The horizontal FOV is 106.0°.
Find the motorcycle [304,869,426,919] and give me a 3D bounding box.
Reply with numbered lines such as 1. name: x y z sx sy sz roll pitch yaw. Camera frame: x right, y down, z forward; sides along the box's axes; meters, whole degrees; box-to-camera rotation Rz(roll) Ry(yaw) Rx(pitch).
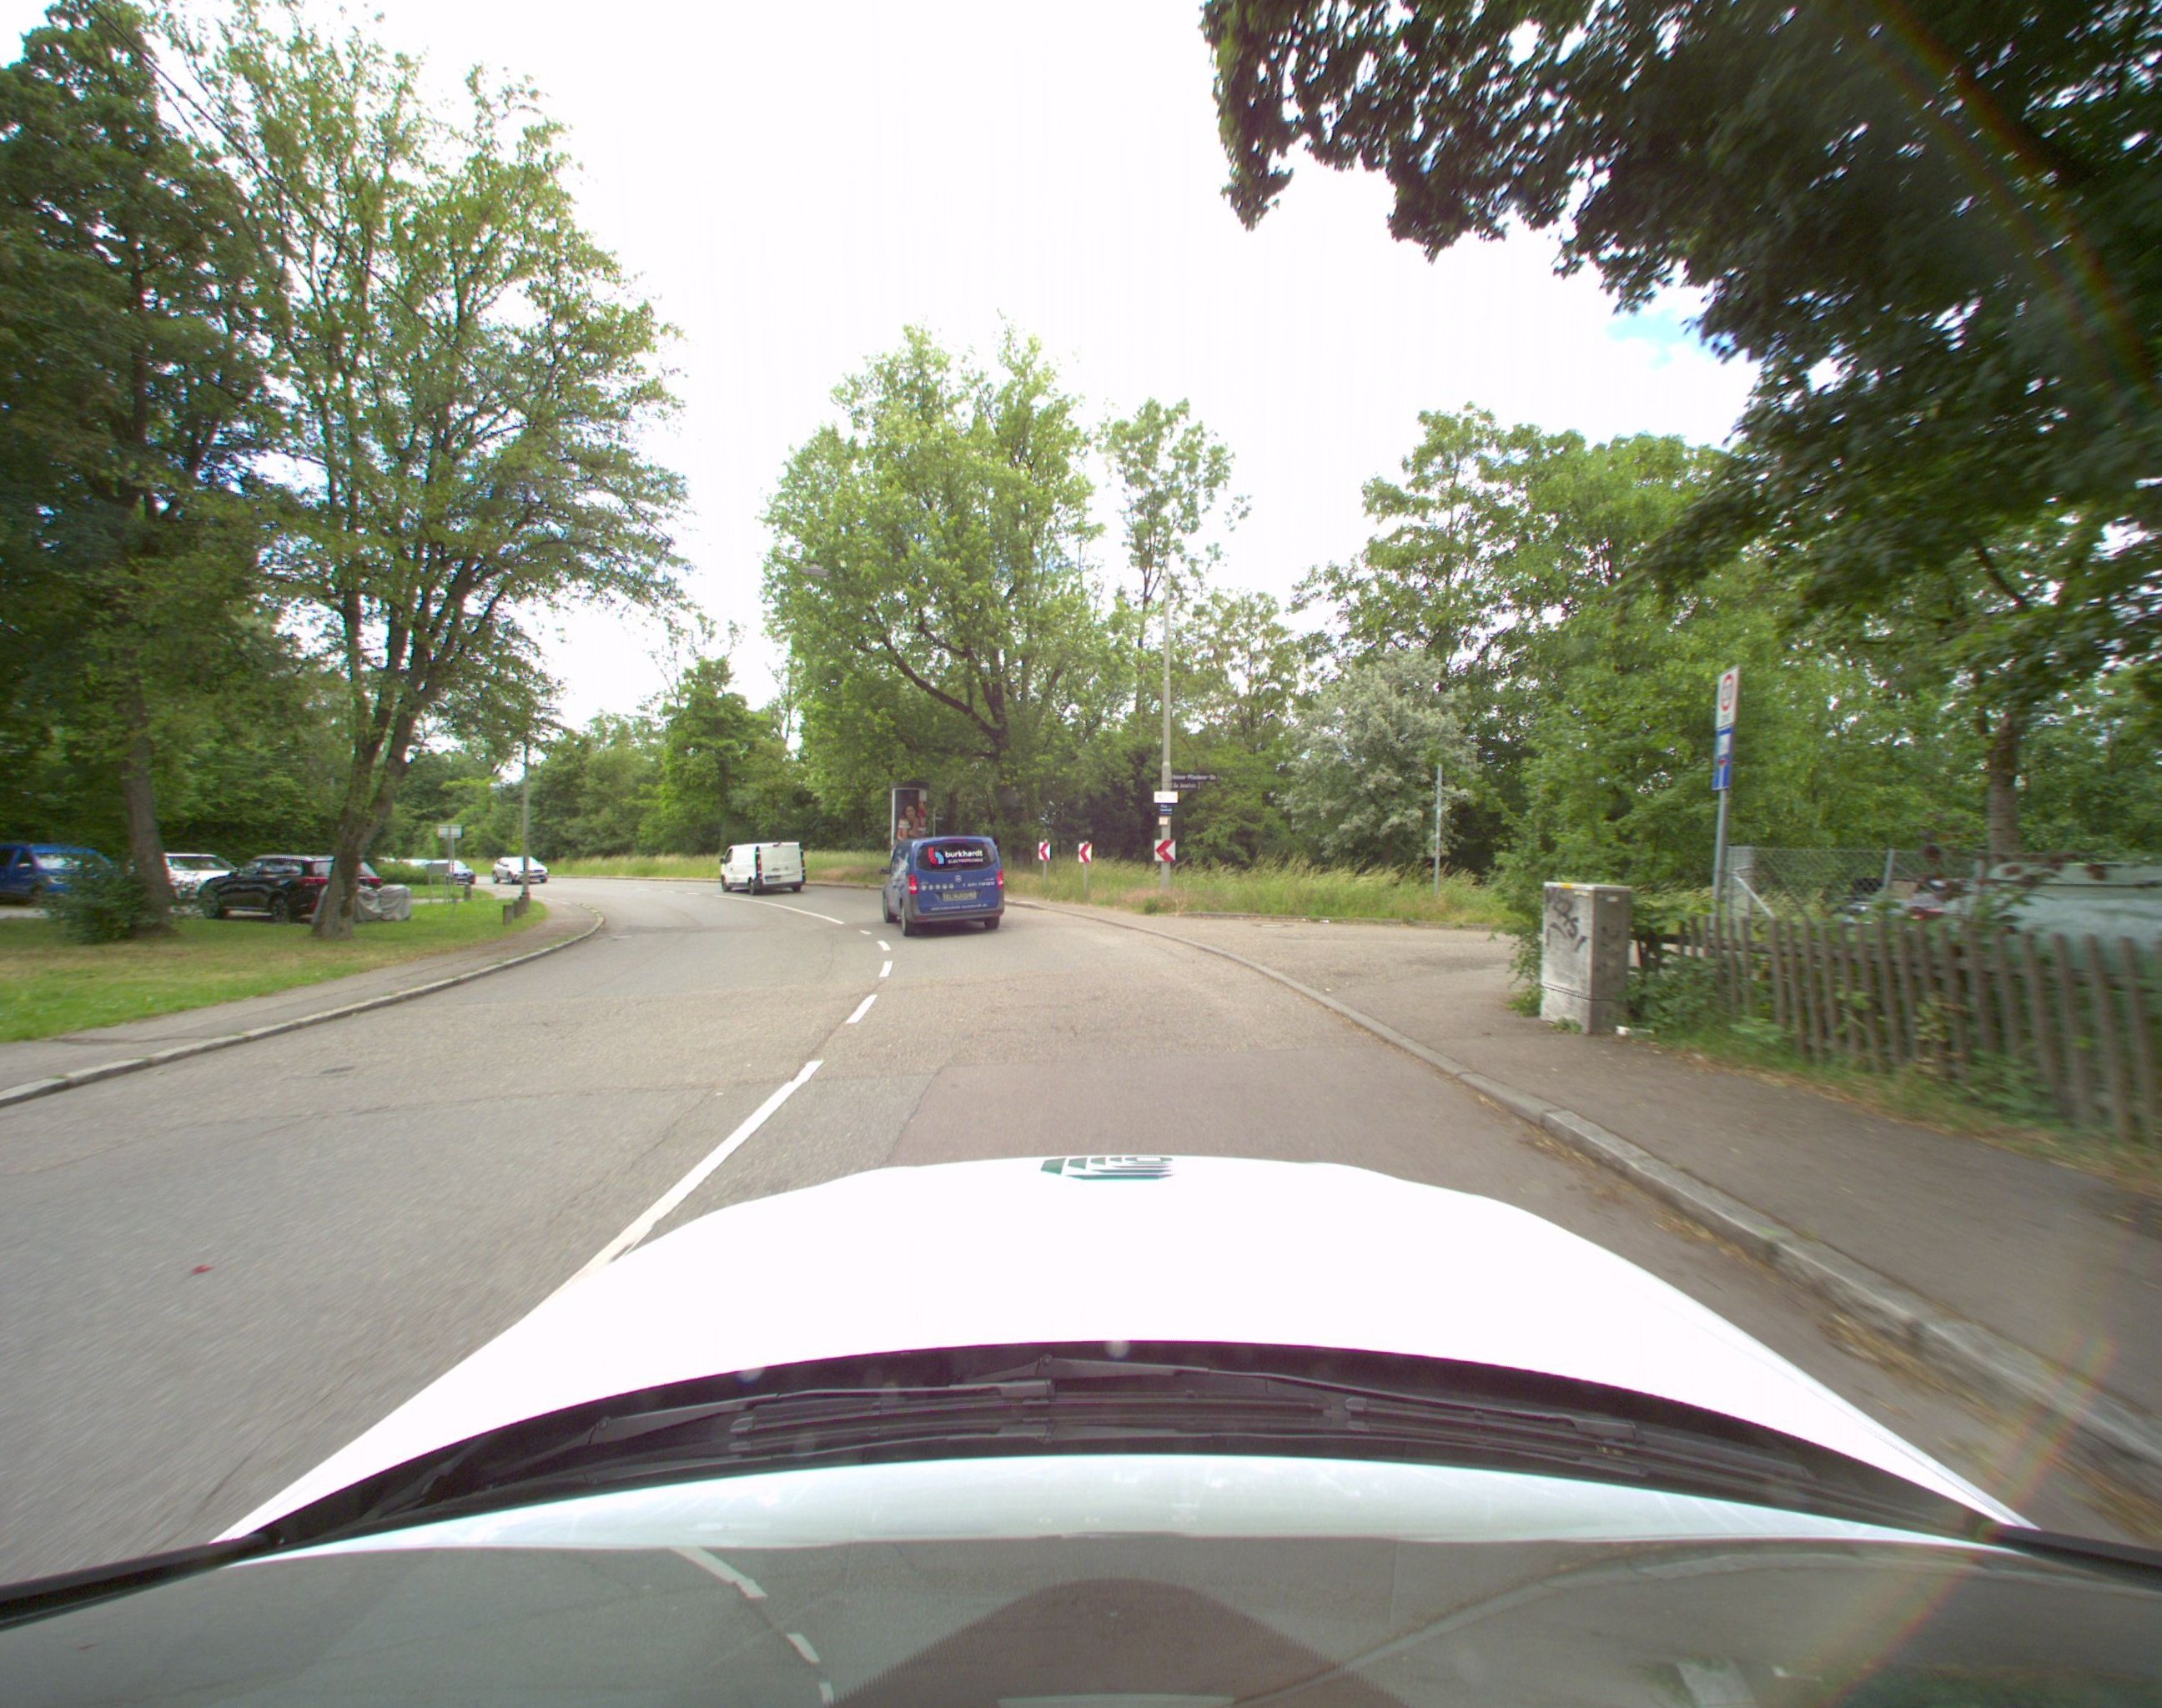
1. motorcycle: -17.556 0.950 20.043 0.855 1.151 2.076 0 -1 19

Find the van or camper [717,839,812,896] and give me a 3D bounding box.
1. van or camper: -12.611 0.478 32.276 2.037 1.956 4.839 -4 3 -39

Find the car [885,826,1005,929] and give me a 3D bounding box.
1. car: -2.985 0.434 17.075 1.918 1.837 4.269 -1 0 -17

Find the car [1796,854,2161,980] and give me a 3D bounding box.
1. car: 12.841 0.876 11.672 3.652 1.398 1.829 5 -2 -4

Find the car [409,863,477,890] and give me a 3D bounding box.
1. car: -35.953 1.244 45.854 4.445 1.418 1.752 -1 0 34

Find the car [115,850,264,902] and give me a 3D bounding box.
1. car: -28.831 0.694 26.344 4.222 1.594 1.756 0 -1 20

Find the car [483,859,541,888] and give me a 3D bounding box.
1. car: -31.808 1.086 45.503 4.027 1.457 1.741 -2 2 42

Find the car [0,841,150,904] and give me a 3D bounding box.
1. car: -29.925 0.505 23.818 4.220 1.732 1.754 1 -1 14

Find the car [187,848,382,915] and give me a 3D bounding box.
1. car: -20.404 0.664 20.882 4.284 1.594 1.755 0 -1 18
